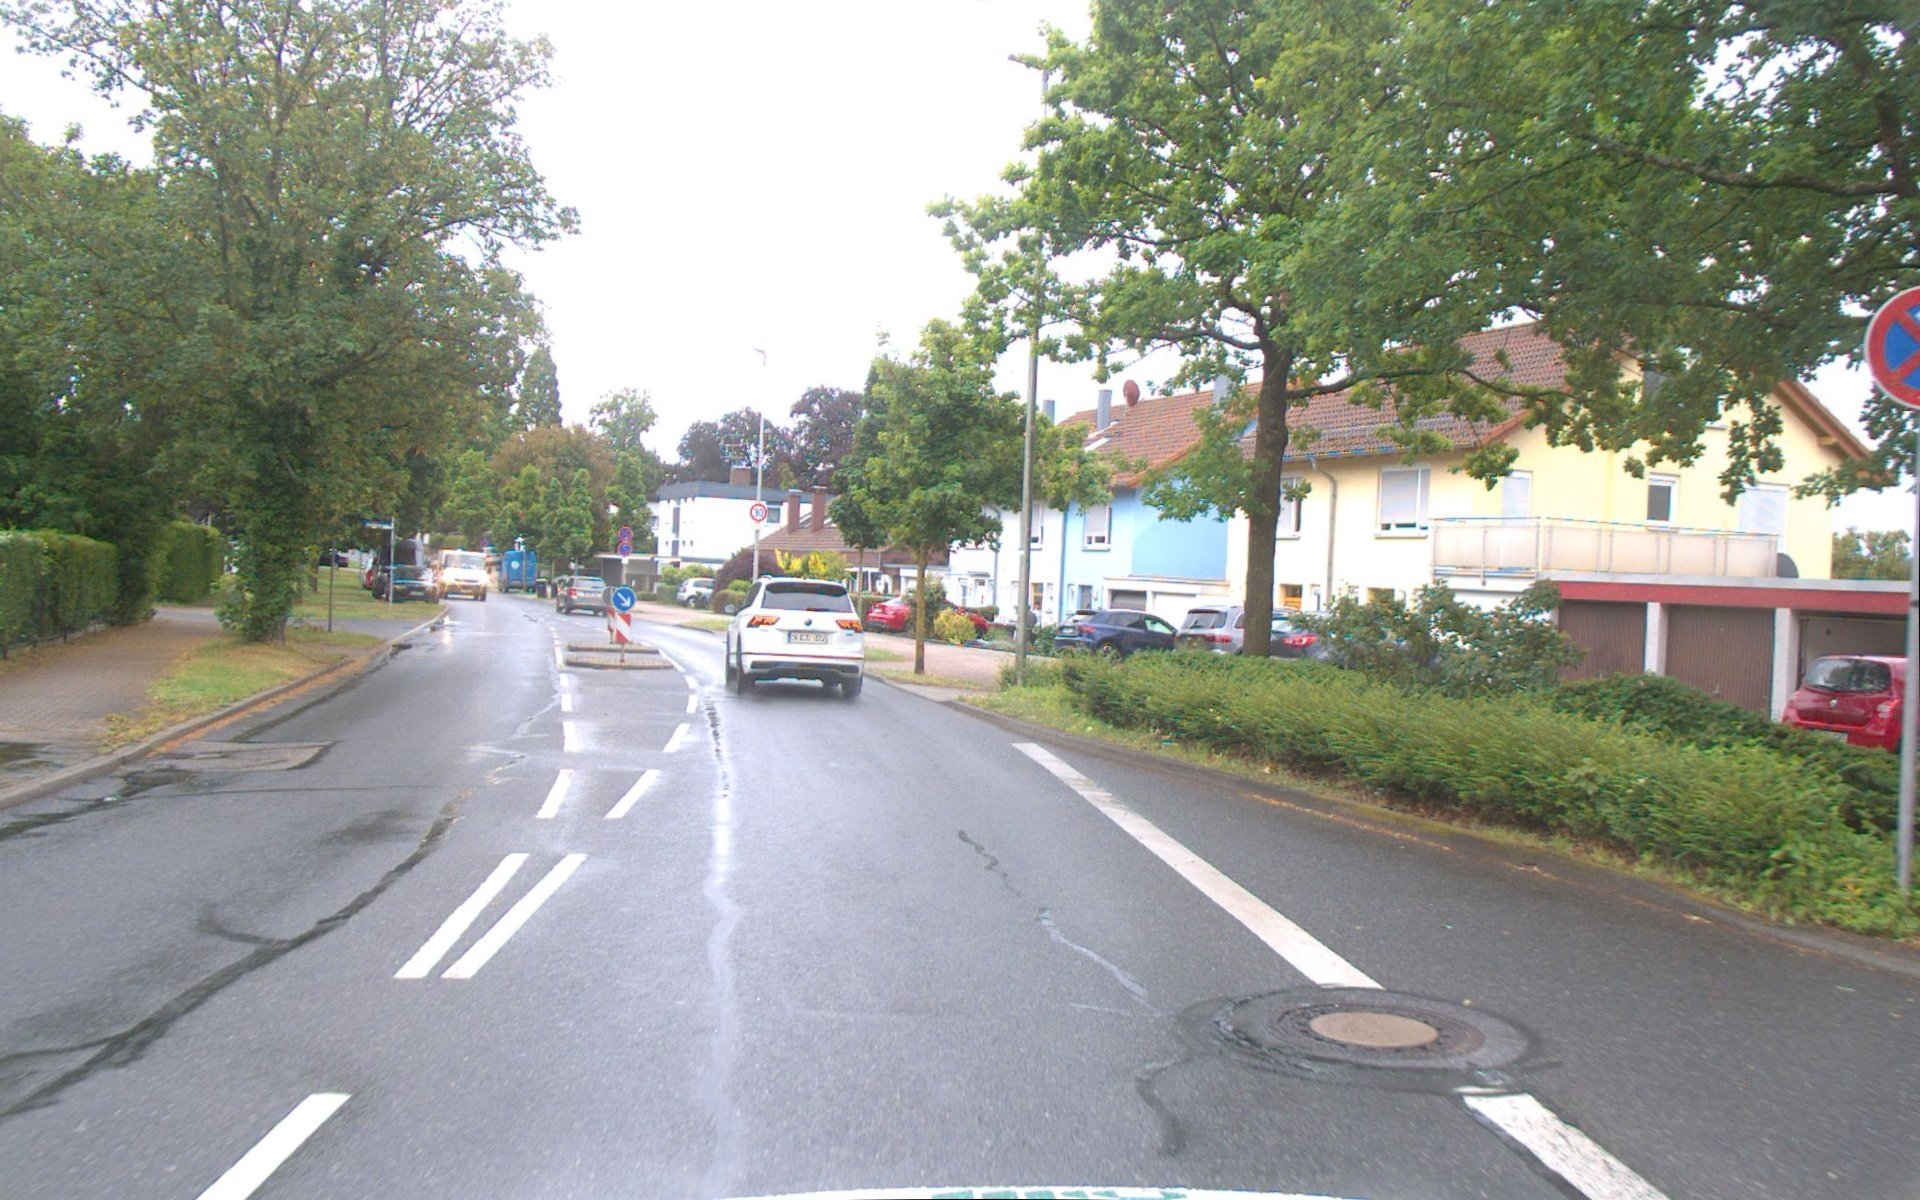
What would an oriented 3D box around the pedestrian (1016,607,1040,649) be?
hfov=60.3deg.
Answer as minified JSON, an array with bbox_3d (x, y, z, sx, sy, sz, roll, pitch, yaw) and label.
[{"bbox_3d":[2.245,0.924,54.799,0.531,1.374,0.523,3,0,-35],"label":"pedestrian"}]

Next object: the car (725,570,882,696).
[{"bbox_3d":[-2.419,0.442,24.692,1.832,1.679,3.988,2,0,-12],"label":"car"}]

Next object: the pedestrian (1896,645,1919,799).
[{"bbox_3d":[10.378,1.296,17.222,0.656,1.585,0.835,3,0,-27],"label":"pedestrian"}]

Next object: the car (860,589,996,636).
[{"bbox_3d":[-1.050,0.423,55.452,4.262,1.282,1.661,4,0,-33],"label":"car"}]

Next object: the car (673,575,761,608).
[{"bbox_3d":[-12.047,-0.441,82.061,3.934,1.467,1.834,2,0,-24],"label":"car"}]

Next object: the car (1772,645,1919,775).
[{"bbox_3d":[12.364,1.396,21.048,3.643,1.467,1.694,3,0,-24],"label":"car"}]

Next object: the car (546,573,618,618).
[{"bbox_3d":[-14.654,-0.202,64.024,1.748,1.578,3.965,3,0,-27],"label":"car"}]

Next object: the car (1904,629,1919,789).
[{"bbox_3d":[12.682,1.300,18.301,3.934,1.751,1.910,3,0,-24],"label":"car"}]

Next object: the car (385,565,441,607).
[{"bbox_3d":[-20.846,-0.553,62.992,1.699,1.433,3.799,3,0,-23],"label":"car"}]

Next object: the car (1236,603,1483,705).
[{"bbox_3d":[7.531,1.012,31.200,4.120,1.700,1.979,3,0,-22],"label":"car"}]

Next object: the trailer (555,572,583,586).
[{"bbox_3d":[-30.760,-1.638,130.064,2.012,0.898,1.357,4,0,-19],"label":"trailer"}]

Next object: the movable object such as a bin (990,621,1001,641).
[{"bbox_3d":[1.155,0.998,53.632,0.252,0.637,0.323,2,0,-21],"label":"movable object such as a bin"}]

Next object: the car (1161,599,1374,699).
[{"bbox_3d":[6.373,1.013,34.139,4.134,1.700,1.705,5,-1,-30],"label":"car"}]

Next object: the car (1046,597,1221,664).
[{"bbox_3d":[4.228,0.742,40.310,3.936,1.411,1.662,3,0,-25],"label":"car"}]

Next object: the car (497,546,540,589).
[{"bbox_3d":[-28.448,-2.117,106.440,1.966,2.631,5.596,1,1,-22],"label":"car"}]

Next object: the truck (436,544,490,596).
[{"bbox_3d":[-23.937,-1.428,79.515,2.183,2.242,6.431,3,0,-18],"label":"truck"}]
